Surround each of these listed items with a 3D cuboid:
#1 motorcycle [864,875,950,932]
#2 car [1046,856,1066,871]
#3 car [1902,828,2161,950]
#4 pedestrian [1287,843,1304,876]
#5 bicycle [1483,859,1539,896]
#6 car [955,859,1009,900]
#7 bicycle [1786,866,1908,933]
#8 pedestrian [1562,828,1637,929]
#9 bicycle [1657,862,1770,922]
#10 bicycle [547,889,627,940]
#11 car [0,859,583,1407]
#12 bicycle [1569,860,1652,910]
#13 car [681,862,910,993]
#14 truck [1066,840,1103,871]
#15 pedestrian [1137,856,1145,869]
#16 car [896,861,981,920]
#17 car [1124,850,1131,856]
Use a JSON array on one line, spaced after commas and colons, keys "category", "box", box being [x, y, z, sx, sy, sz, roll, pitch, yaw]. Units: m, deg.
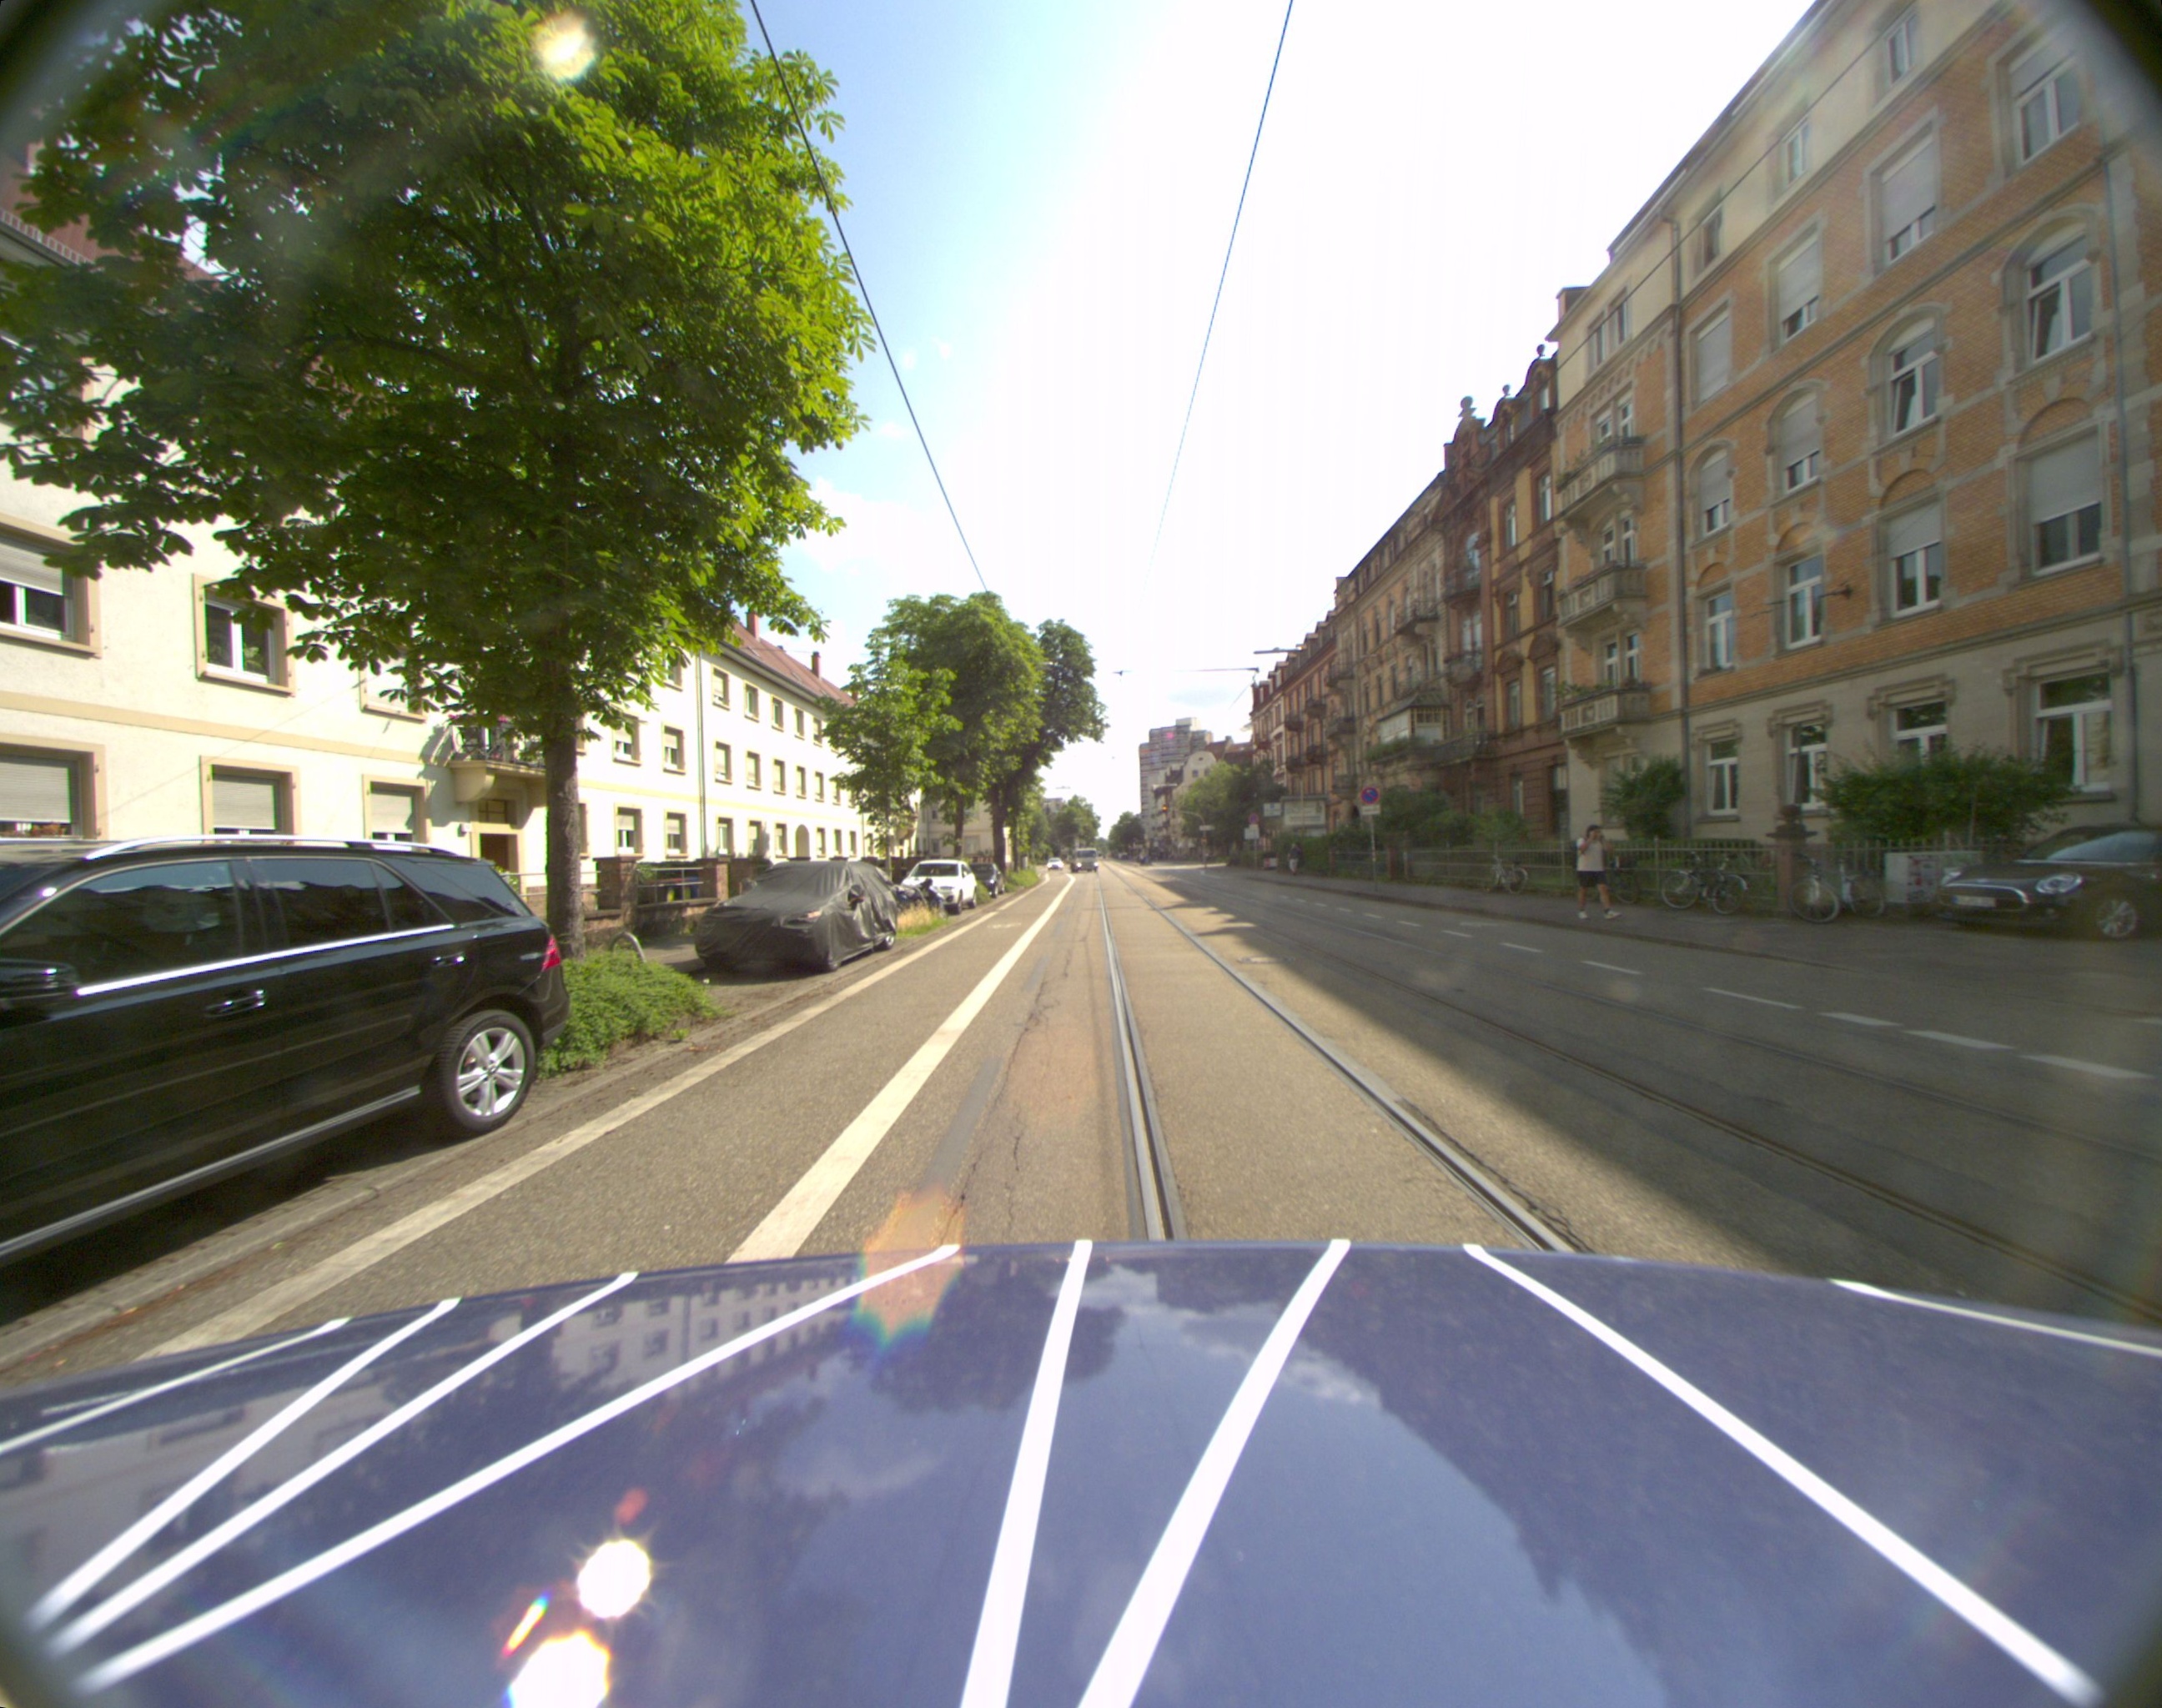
[{"category": "motorcycle", "box": [-4.465, 1.267, 19.599, 2.012, 1.329, 0.747, -2, 1, -3]}, {"category": "car", "box": [-2.857, 1.101, 88.901, 1.750, 1.471, 3.655, -4, 1, 6]}, {"category": "car", "box": [13.731, 0.401, 10.046, 3.611, 1.395, 1.787, -3, 0, 5]}, {"category": "pedestrian", "box": [11.192, 0.270, 39.688, 0.489, 1.693, 1.151, -2, 1, -1]}, {"category": "bicycle", "box": [11.641, 0.623, 20.633, 0.422, 0.927, 1.949, -2, 0, 1]}, {"category": "car", "box": [-4.141, 1.017, 32.322, 1.665, 1.512, 4.287, -2, 0, 0]}, {"category": "bicycle", "box": [11.827, 0.689, 11.749, 1.456, 0.971, 0.404, -2, 0, 1]}, {"category": "pedestrian", "box": [9.497, 0.425, 13.956, 0.534, 1.750, 1.105, -4, 1, 1]}, {"category": "bicycle", "box": [11.410, 0.659, 13.798, 0.422, 0.971, 1.949, -2, 0, 1]}, {"category": "bicycle", "box": [-10.622, 1.280, 16.404, 0.538, 0.958, 1.679, -2, 0, 2]}, {"category": "car", "box": [-4.458, 0.946, 2.949, 1.831, 1.772, 4.733, -2, 0, 1]}, {"category": "bicycle", "box": [11.387, 0.643, 16.423, 0.422, 0.971, 1.949, -2, 0, 1]}, {"category": "car", "box": [-4.379, 1.017, 12.573, 1.867, 1.643, 4.638, -2, 0, 2]}, {"category": "truck", "box": [0.253, 0.138, 71.855, 2.533, 2.722, 6.510, -2, 0, -8]}, {"category": "pedestrian", "box": [7.451, 1.014, 93.765, 0.783, 1.565, 0.692, -2, 0, -13]}, {"category": "car", "box": [-4.329, 1.054, 23.726, 1.746, 1.571, 4.248, -2, 0, 0]}, {"category": "car", "box": [12.937, -0.206, 211.359, 1.841, 1.482, 3.892, -2, 0, 1]}]
